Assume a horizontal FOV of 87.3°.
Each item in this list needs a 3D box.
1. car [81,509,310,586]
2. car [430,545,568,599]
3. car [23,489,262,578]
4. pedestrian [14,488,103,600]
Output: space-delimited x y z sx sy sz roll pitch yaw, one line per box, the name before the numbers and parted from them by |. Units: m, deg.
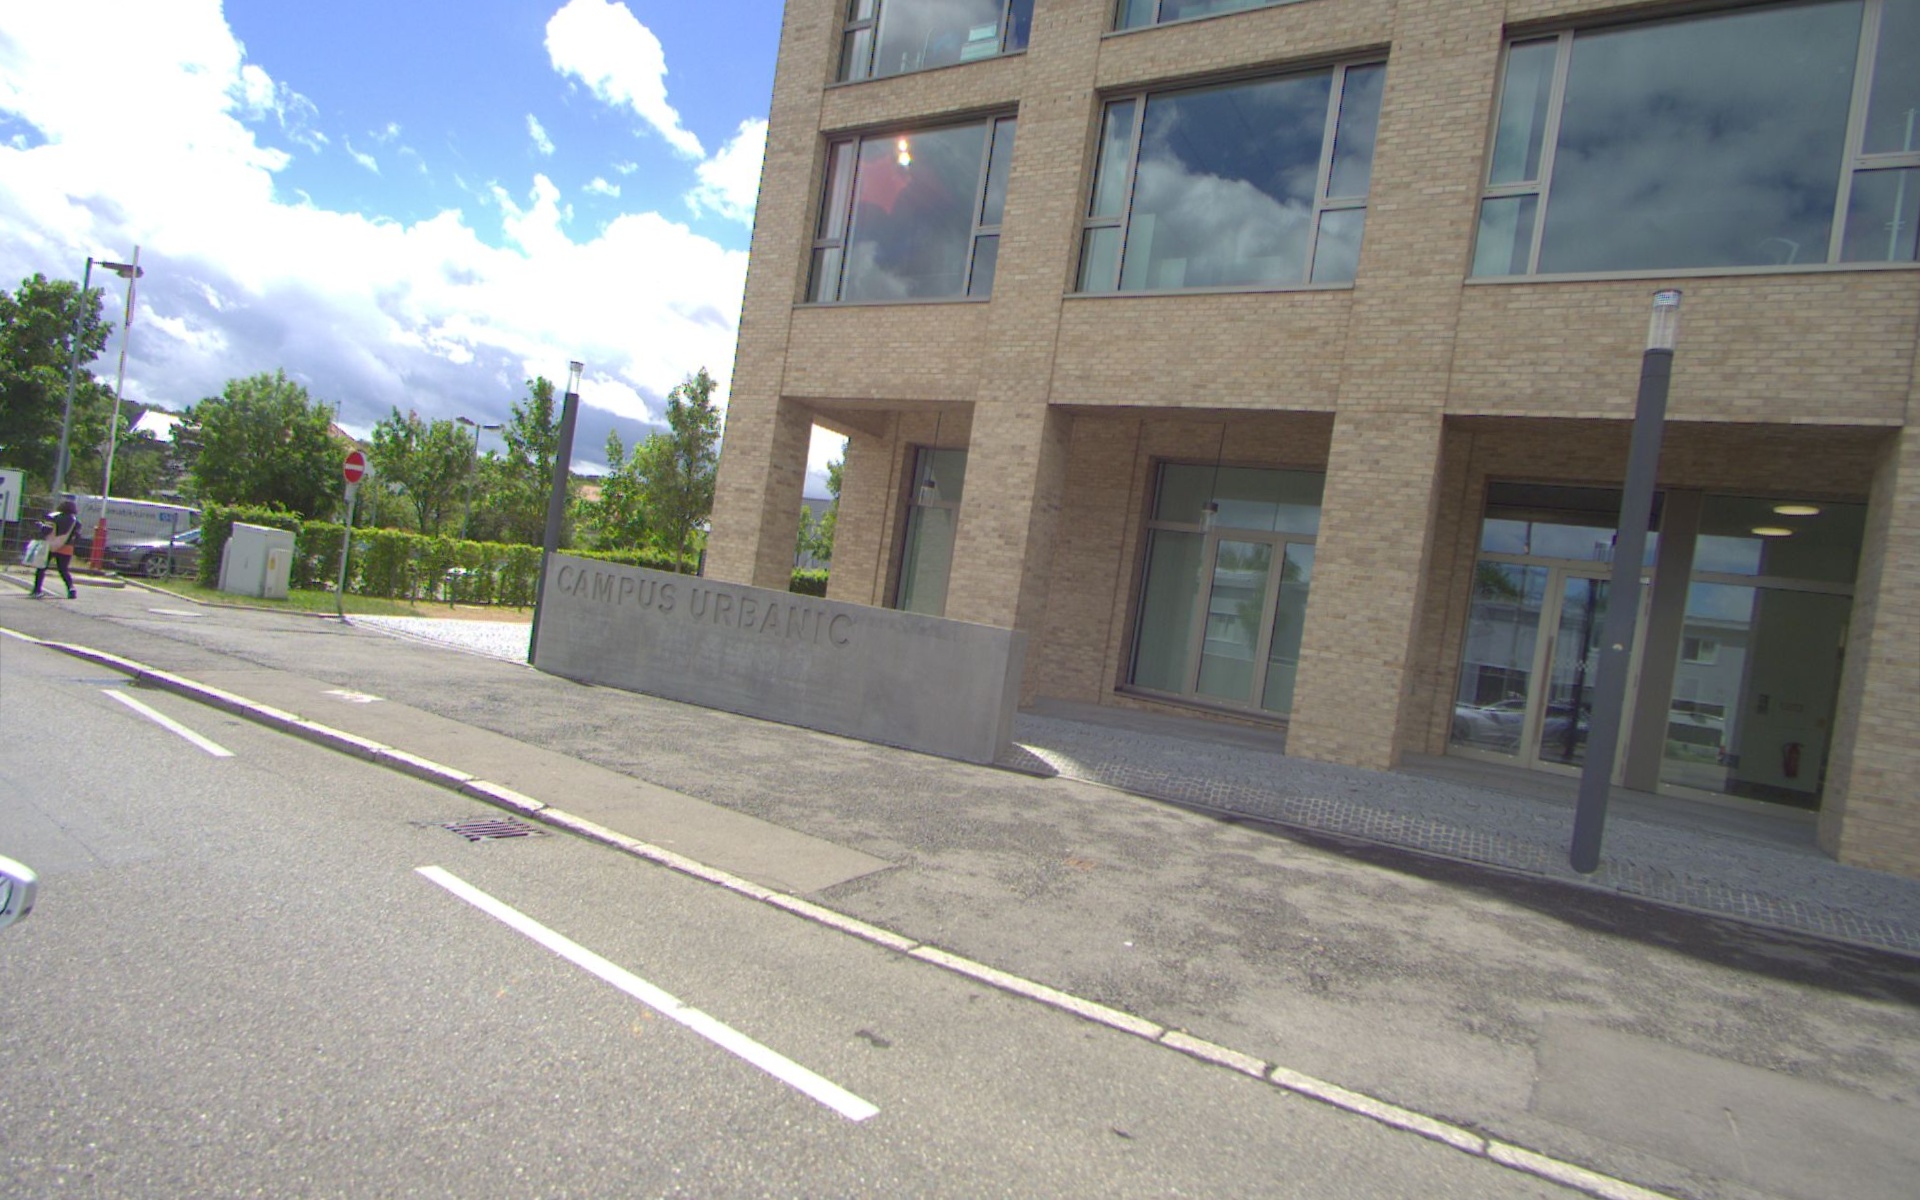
car | -20.343 -1.349 26.975 1.967 1.500 4.437 6 0 31
car | -17.450 -1.013 38.268 1.856 1.510 4.439 7 0 29
car | -22.776 -1.794 28.271 2.051 1.871 4.718 6 0 25
pedestrian | -13.629 -0.840 15.212 0.842 1.555 0.688 8 1 32
